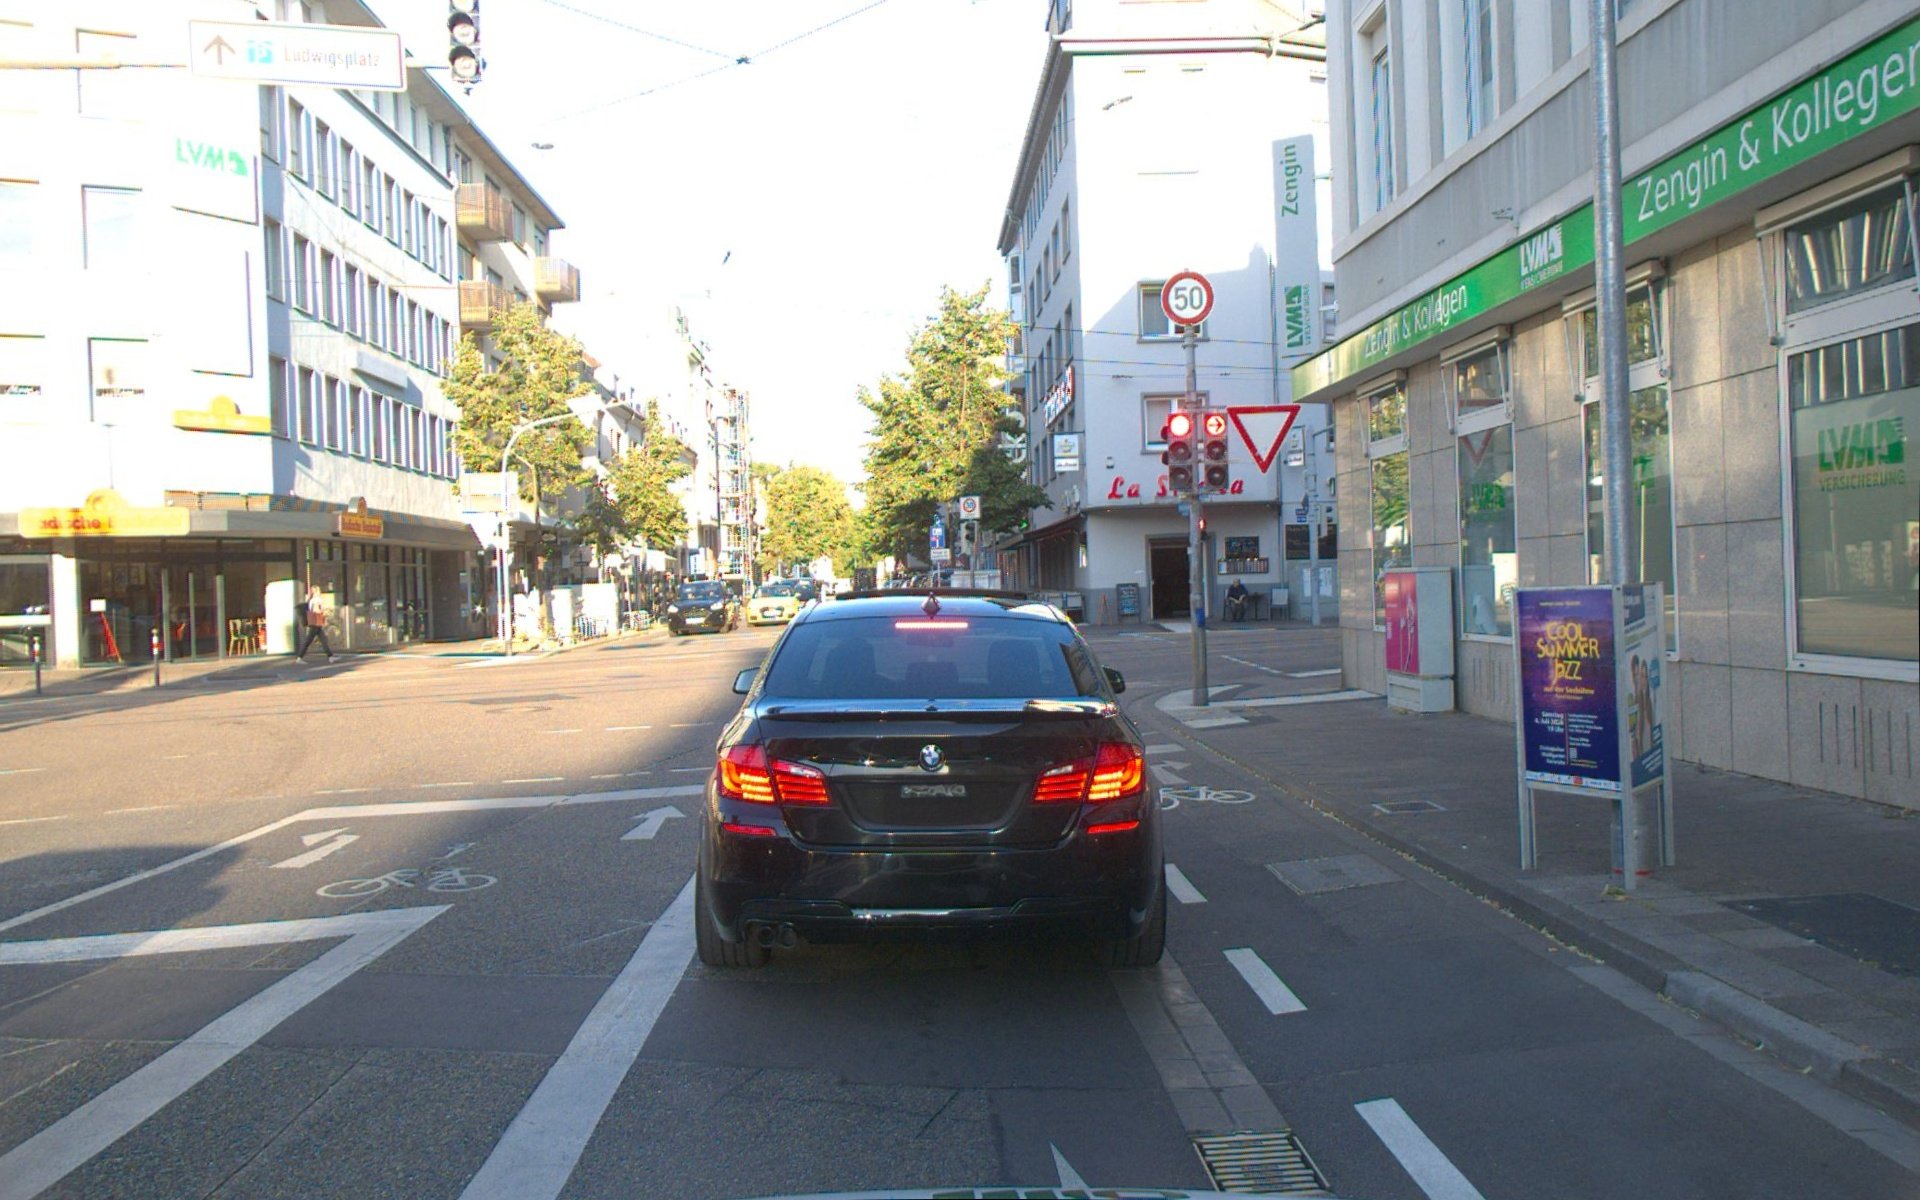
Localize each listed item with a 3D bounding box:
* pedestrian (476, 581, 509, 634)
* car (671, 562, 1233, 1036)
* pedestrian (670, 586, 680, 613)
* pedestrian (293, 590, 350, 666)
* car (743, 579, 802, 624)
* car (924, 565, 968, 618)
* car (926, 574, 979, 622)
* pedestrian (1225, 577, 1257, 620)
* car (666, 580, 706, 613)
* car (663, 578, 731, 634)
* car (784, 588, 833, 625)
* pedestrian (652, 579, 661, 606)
[{"bbox_3d":[-15.251,0.233,53.982,0.807,1.705,0.871,-2,0,-3],"label":"pedestrian"},{"bbox_3d":[-0.134,0.639,7.748,1.865,1.567,4.447,1,1,-3],"label":"car"},{"bbox_3d":[-15.497,-0.018,89.853,0.435,1.441,0.525,-2,0,-4],"label":"pedestrian"},{"bbox_3d":[-13.743,0.597,35.599,0.938,1.564,0.898,-2,0,-34],"label":"pedestrian"},{"bbox_3d":[-6.569,0.038,57.683,1.956,1.467,3.993,-2,1,-8],"label":"car"},{"bbox_3d":[-0.531,-0.304,61.100,1.393,1.887,3.049,-1,0,-5],"label":"car"},{"bbox_3d":[-0.267,-0.075,54.704,1.593,1.497,3.393,-1,0,-3],"label":"car"},{"bbox_3d":[7.901,-0.039,46.540,0.683,1.177,0.843,-2,0,-4],"label":"pedestrian"},{"bbox_3d":[-13.058,-0.173,78.932,1.701,1.487,3.993,-2,1,-8],"label":"car"},{"bbox_3d":[-8.250,0.158,52.218,1.956,1.646,3.993,-2,1,-8],"label":"car"},{"bbox_3d":[-5.923,0.238,64.463,1.701,1.315,3.993,-2,1,-8],"label":"car"},{"bbox_3d":[-16.290,-0.402,88.772,0.435,1.441,0.525,0,0,-4],"label":"pedestrian"}]
